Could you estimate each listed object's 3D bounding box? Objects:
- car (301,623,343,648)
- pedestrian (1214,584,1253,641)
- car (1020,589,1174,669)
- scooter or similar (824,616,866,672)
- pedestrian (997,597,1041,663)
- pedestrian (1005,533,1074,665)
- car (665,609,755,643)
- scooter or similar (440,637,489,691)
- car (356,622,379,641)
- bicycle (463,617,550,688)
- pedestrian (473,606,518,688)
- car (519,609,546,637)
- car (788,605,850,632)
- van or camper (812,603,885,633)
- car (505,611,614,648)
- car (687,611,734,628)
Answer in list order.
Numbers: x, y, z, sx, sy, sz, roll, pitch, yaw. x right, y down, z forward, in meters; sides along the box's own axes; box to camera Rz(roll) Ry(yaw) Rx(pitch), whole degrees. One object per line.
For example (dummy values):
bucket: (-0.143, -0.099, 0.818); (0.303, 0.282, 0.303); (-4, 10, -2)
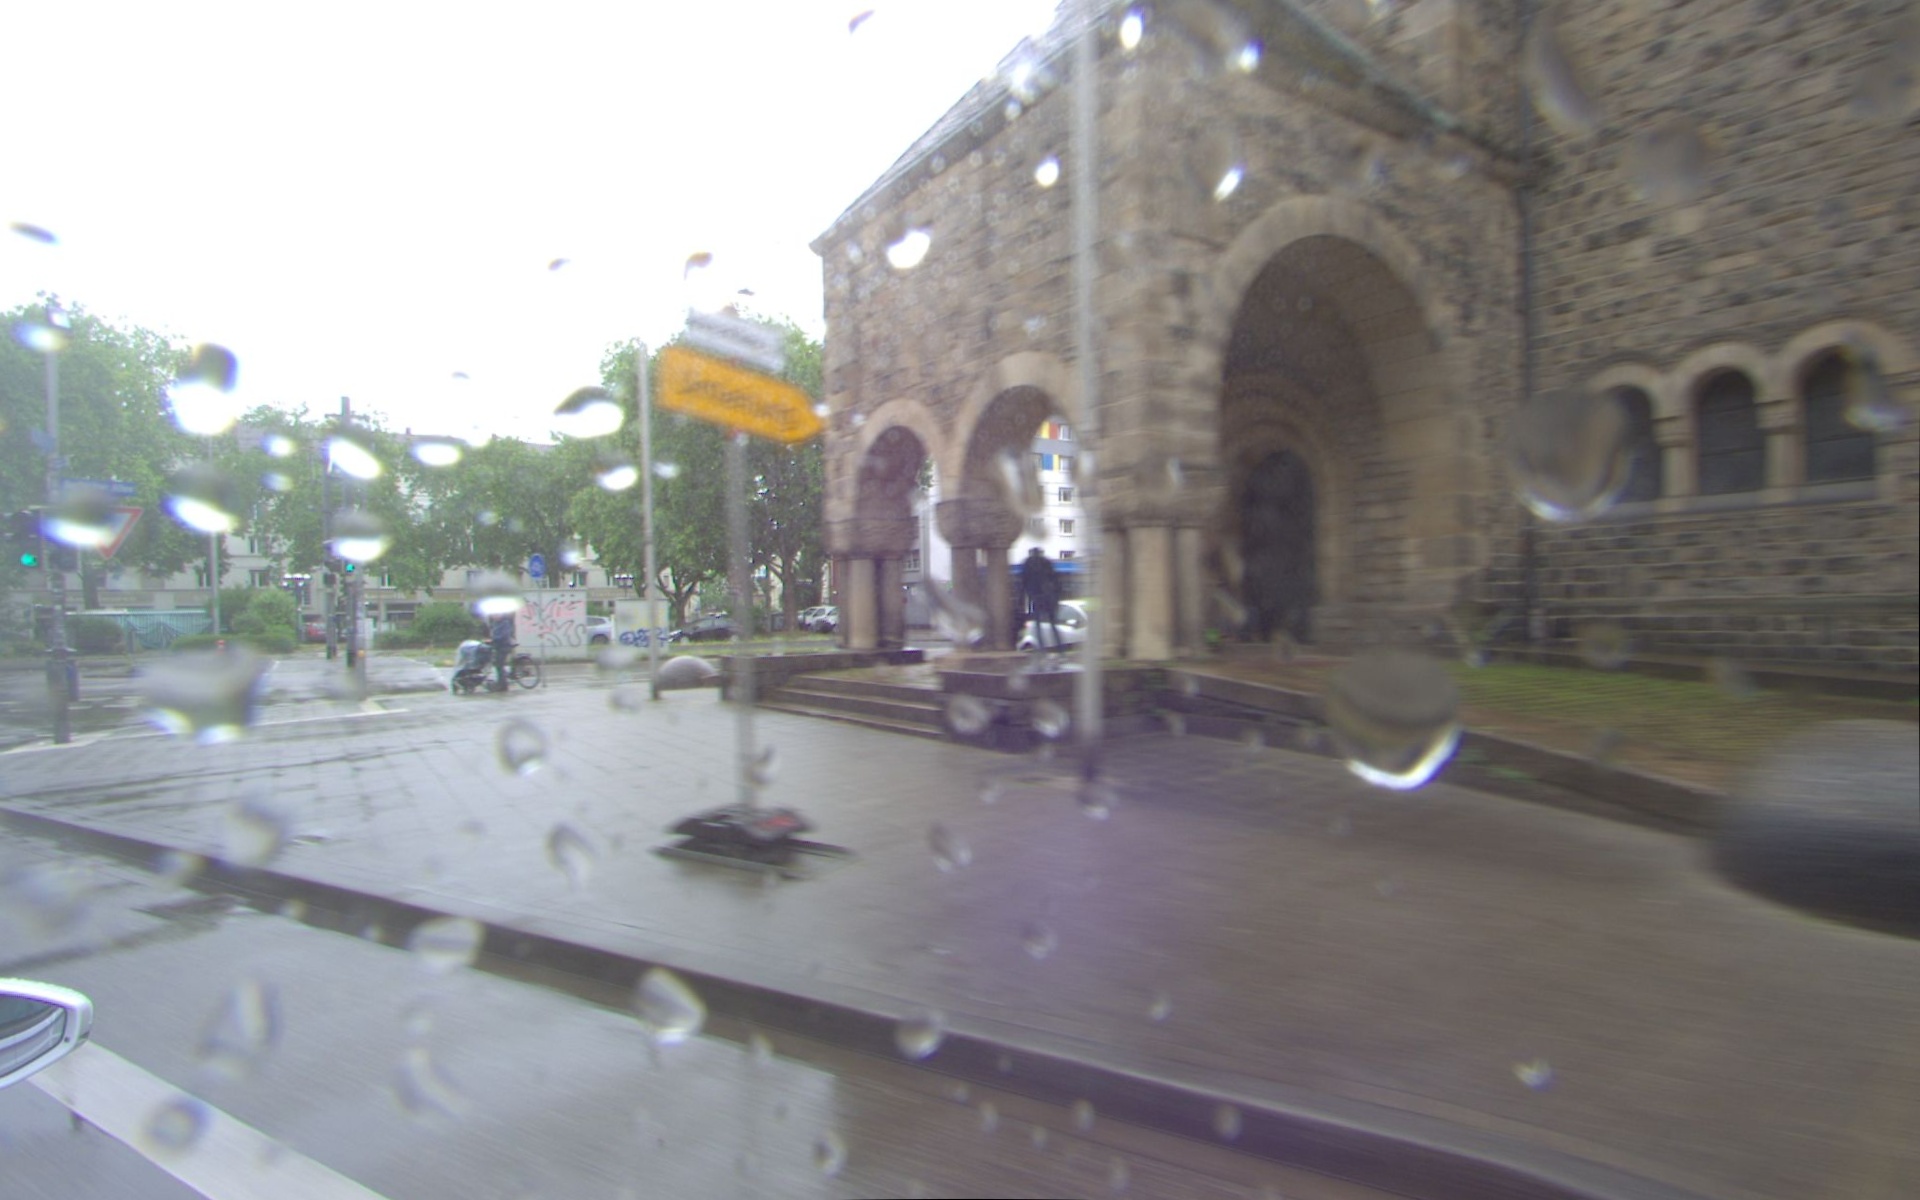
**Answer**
car: (-41.387, 2.308, 64.949); (1.650, 1.541, 3.645); (-1, -1, -42)
pedestrian: (4.392, 0.202, 16.109); (0.391, 0.896, 0.453); (-1, 0, -35)
car: (3.048, 0.700, 22.820); (1.712, 1.593, 3.343); (-1, -4, -31)
scooter or similar: (-2.982, 1.128, 25.992); (1.089, 1.405, 0.284); (-1, 1, -36)
pedestrian: (0.823, 0.414, 13.923); (0.451, 0.896, 0.393); (-1, 0, -38)
pedestrian: (1.079, -0.012, 13.607); (0.626, 1.725, 0.673); (-1, 1, -37)
car: (-12.821, 1.303, 51.428); (4.124, 1.621, 1.766); (-1, 0, -35)
scooter or similar: (-10.320, 1.321, 20.853); (0.912, 1.062, 0.511); (-1, 1, 35)
car: (-49.527, 2.656, 83.639); (1.533, 1.485, 3.349); (-1, -3, -33)
bicycle: (-9.770, 1.120, 21.574); (1.907, 1.486, 0.532); (-1, 0, 23)
pedestrian: (-9.793, 0.979, 21.113); (0.680, 1.685, 0.601); (0, 1, 35)
car: (-38.350, 2.079, 89.697); (1.533, 2.231, 4.077); (-1, -2, -33)
car: (-10.302, 1.342, 73.494); (4.210, 1.802, 1.725); (-1, 0, -38)
van or camper: (-7.661, 1.216, 68.918); (4.614, 1.940, 1.985); (-1, 0, -38)
car: (-18.858, 1.348, 47.195); (4.496, 1.621, 1.780); (-1, 0, -35)
car: (-23.355, 1.848, 93.913); (3.945, 1.471, 1.667); (-1, 0, -33)
